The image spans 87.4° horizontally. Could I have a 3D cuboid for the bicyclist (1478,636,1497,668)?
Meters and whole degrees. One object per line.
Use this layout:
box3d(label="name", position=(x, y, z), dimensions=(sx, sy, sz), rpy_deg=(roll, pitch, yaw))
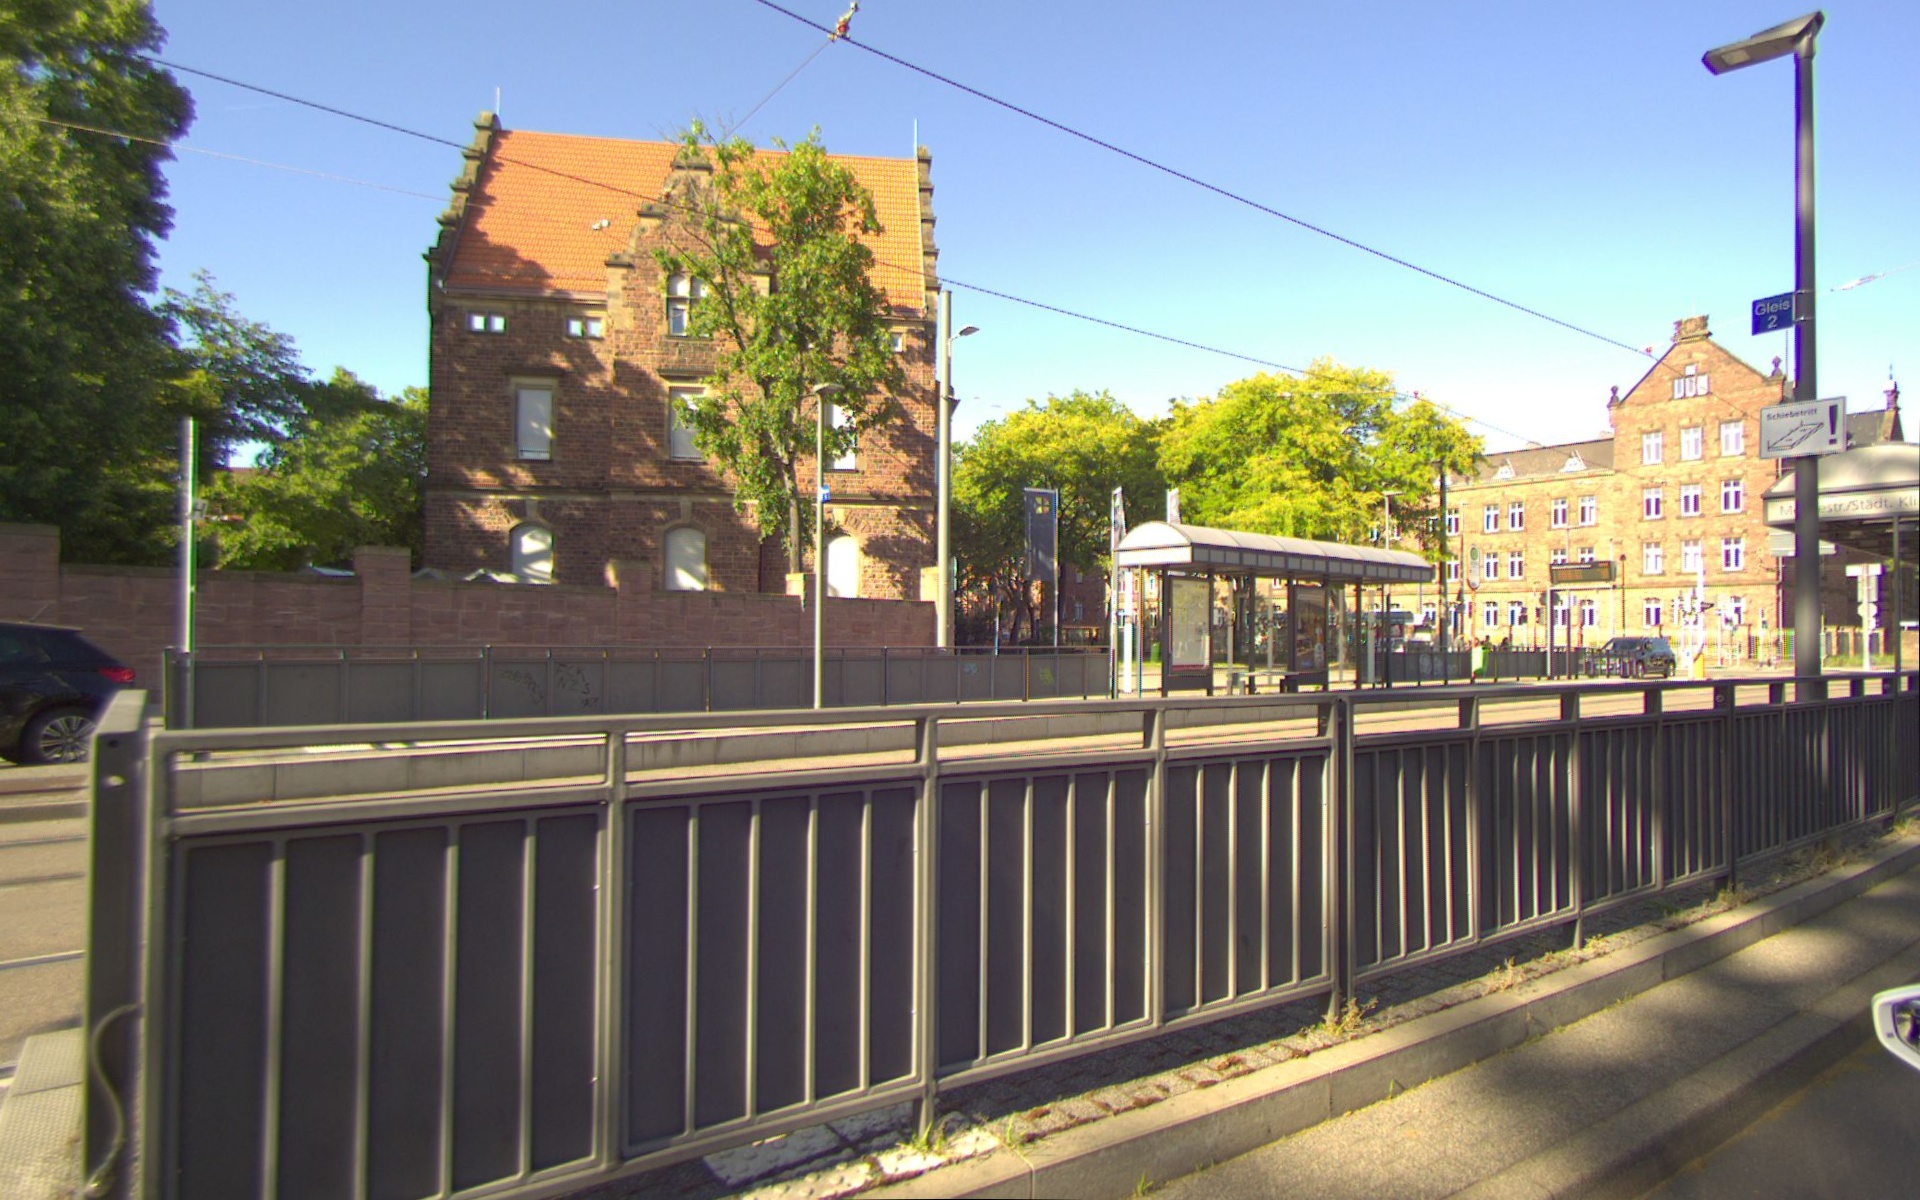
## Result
box3d(label="bicyclist", position=(28.023, 2.774, 53.378), dimensions=(0.794, 1.657, 0.629), rpy_deg=(2, -2, -37))

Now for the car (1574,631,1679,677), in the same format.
box3d(label="car", position=(26.308, 2.114, 39.603), dimensions=(4.310, 1.699, 1.896), rpy_deg=(2, -2, -32))

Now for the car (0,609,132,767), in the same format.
box3d(label="car", position=(-9.978, 0.855, 8.717), dimensions=(1.831, 1.421, 3.970), rpy_deg=(-5, -3, 34))

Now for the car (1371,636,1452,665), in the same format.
box3d(label="car", position=(26.742, 2.969, 59.607), dimensions=(1.859, 1.542, 4.038), rpy_deg=(2, -2, -35))

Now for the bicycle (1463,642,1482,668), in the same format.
box3d(label="bicycle", position=(22.199, 2.366, 43.510), dimensions=(0.680, 1.063, 1.668), rpy_deg=(1, -2, 26))

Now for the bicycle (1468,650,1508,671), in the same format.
box3d(label="bicycle", position=(28.021, 3.195, 53.357), dimensions=(0.794, 1.027, 1.722), rpy_deg=(2, -2, -37))

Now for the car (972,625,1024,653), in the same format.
box3d(label="car", position=(3.546, 3.632, 94.366), dimensions=(2.241, 2.485, 4.991), rpy_deg=(2, -2, -38))

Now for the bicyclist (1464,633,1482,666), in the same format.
box3d(label="bicyclist", position=(22.258, 2.158, 43.617), dimensions=(0.678, 1.402, 0.533), rpy_deg=(1, -1, 27))

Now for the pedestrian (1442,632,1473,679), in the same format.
box3d(label="pedestrian", position=(20.402, 2.270, 41.193), dimensions=(1.085, 1.885, 0.722), rpy_deg=(2, -2, -35))
